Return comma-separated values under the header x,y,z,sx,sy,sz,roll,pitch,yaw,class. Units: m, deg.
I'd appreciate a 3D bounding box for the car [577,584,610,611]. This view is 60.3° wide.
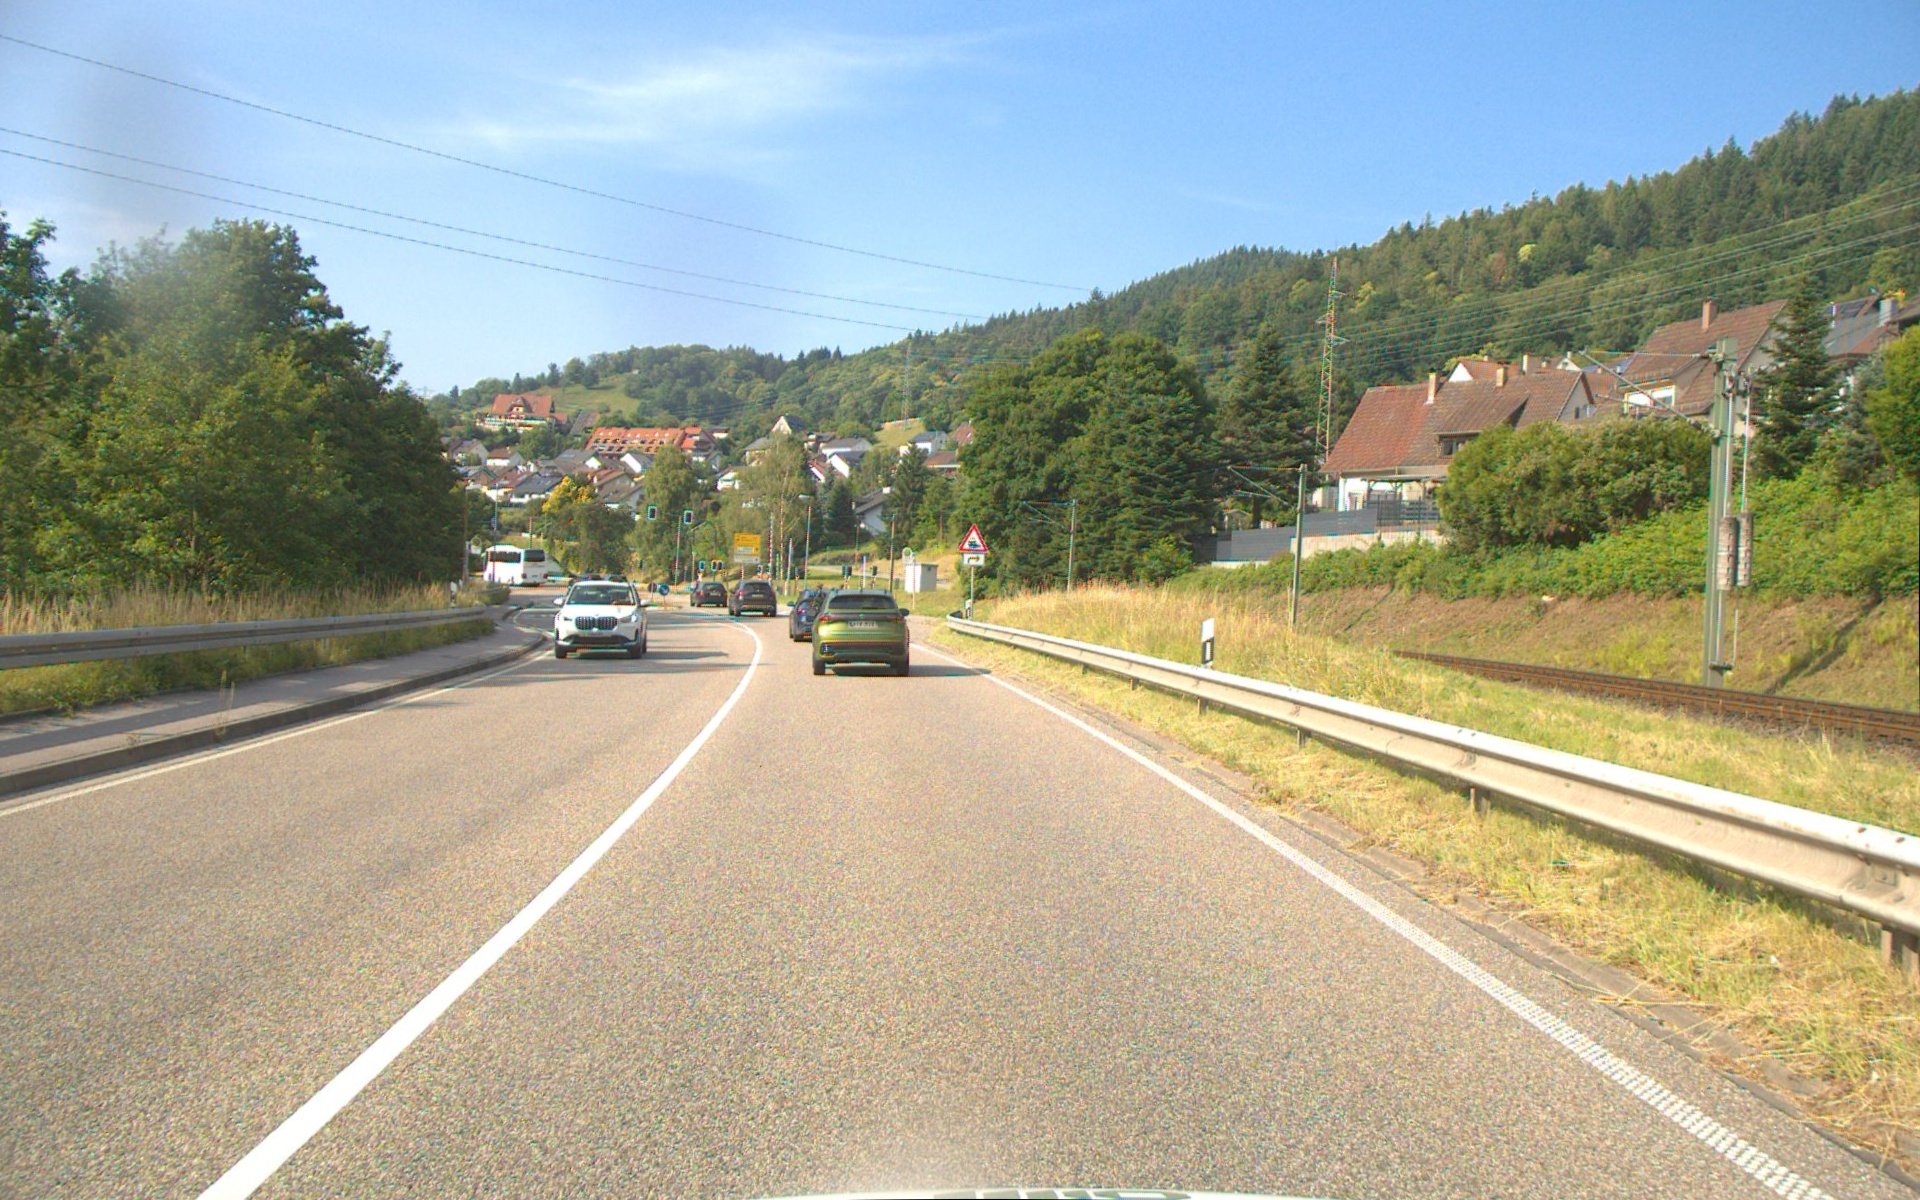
x,y,z,sx,sy,sz,roll,pitch,yaw,class
-21.718,-0.158,98.083,1.858,1.514,3.987,-1,1,-13,car

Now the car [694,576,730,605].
x,y,z,sx,sy,sz,roll,pitch,yaw,class
-14.309,-0.568,95.302,1.816,1.553,3.652,1,1,-12,car

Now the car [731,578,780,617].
x,y,z,sx,sy,sz,roll,pitch,yaw,class
-9.403,-0.137,75.877,1.847,1.716,3.988,0,0,-12,car

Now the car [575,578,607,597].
x,y,z,sx,sy,sz,roll,pitch,yaw,class
-35.354,-1.198,158.373,1.972,1.775,3.961,1,0,-29,car

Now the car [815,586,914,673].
x,y,z,sx,sy,sz,roll,pitch,yaw,class
-1.791,0.482,30.292,1.681,1.480,3.996,0,0,-5,car

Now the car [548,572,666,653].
x,y,z,sx,sy,sz,roll,pitch,yaw,class
-7.651,0.247,36.212,1.954,1.658,3.997,0,0,-4,car

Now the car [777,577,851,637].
x,y,z,sx,sy,sz,roll,pitch,yaw,class
-4.124,0.179,46.332,1.637,1.586,3.988,0,0,-12,car

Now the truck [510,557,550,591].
x,y,z,sx,sy,sz,roll,pitch,yaw,class
-41.560,-2.539,159.756,2.677,3.137,6.062,0,1,-24,truck

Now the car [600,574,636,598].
x,y,z,sx,sy,sz,roll,pitch,yaw,class
-27.372,-1.114,132.249,2.036,1.843,3.970,-1,1,-24,car
